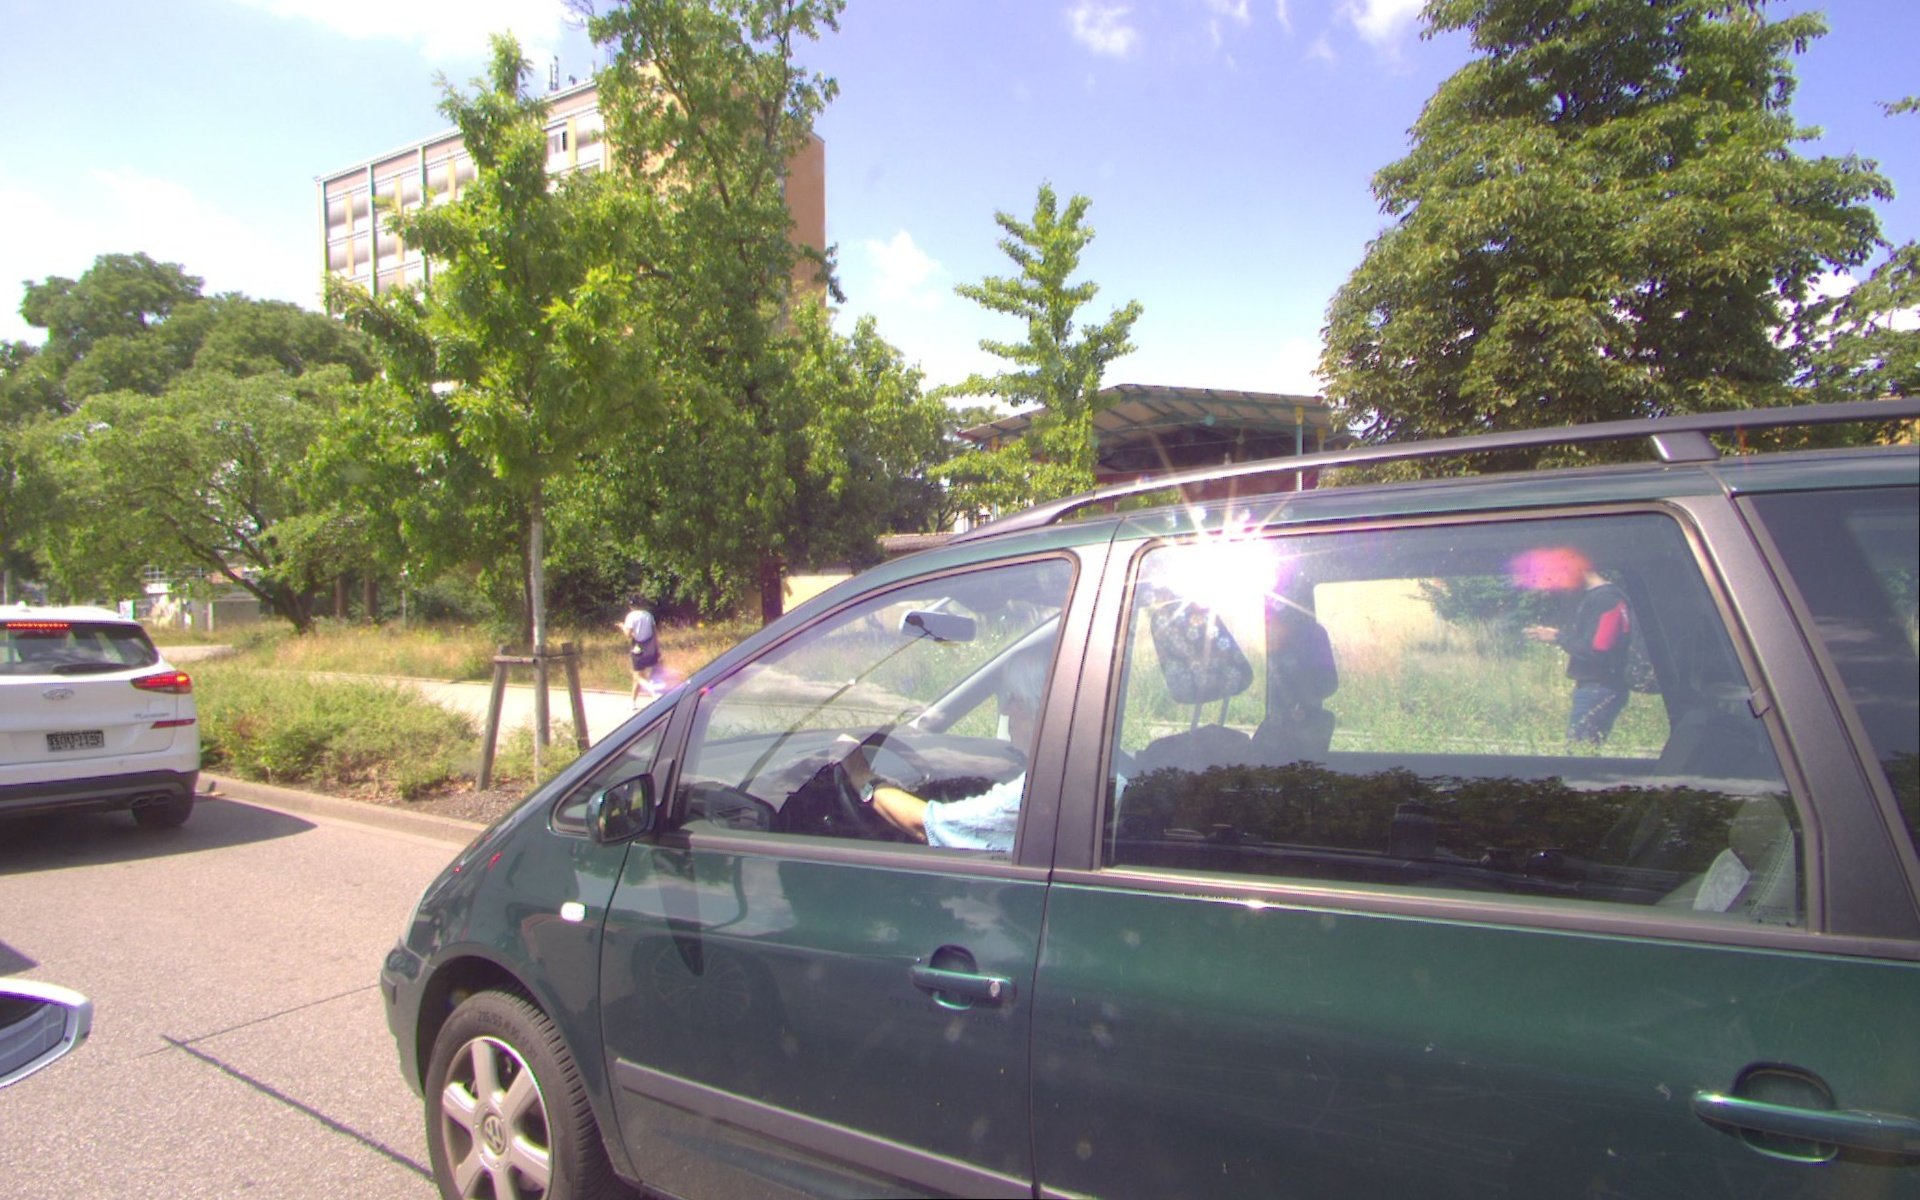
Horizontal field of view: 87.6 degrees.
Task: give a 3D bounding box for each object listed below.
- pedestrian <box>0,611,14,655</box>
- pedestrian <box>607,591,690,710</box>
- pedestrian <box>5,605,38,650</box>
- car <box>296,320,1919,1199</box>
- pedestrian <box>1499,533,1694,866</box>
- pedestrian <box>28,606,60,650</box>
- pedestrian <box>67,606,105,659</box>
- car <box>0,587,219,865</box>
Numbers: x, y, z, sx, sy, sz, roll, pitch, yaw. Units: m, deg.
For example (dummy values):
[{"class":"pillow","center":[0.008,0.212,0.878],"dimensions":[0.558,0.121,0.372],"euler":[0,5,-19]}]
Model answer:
[{"class":"pedestrian","center":[-41.243,1.429,42.917],"dimensions":[0.802,1.874,0.759],"euler":[0,1,24]},{"class":"pedestrian","center":[-4.289,0.675,13.808],"dimensions":[0.805,1.578,0.757],"euler":[0,1,33]},{"class":"pedestrian","center":[-40.043,1.170,42.739],"dimensions":[0.802,1.874,0.759],"euler":[0,1,22]},{"class":"car","center":[0.563,0.632,2.268],"dimensions":[4.329,1.737,1.799],"euler":[0,-2,32]},{"class":"pedestrian","center":[3.614,0.515,5.687],"dimensions":[0.807,1.706,0.754],"euler":[0,1,44]},{"class":"pedestrian","center":[-39.776,1.196,43.502],"dimensions":[0.803,1.874,0.759],"euler":[0,1,24]},{"class":"pedestrian","center":[-28.080,1.019,32.180],"dimensions":[0.805,1.677,0.756],"euler":[0,1,36]},{"class":"car","center":[-7.343,0.781,7.398],"dimensions":[3.919,1.701,1.810],"euler":[0,0,34]}]
